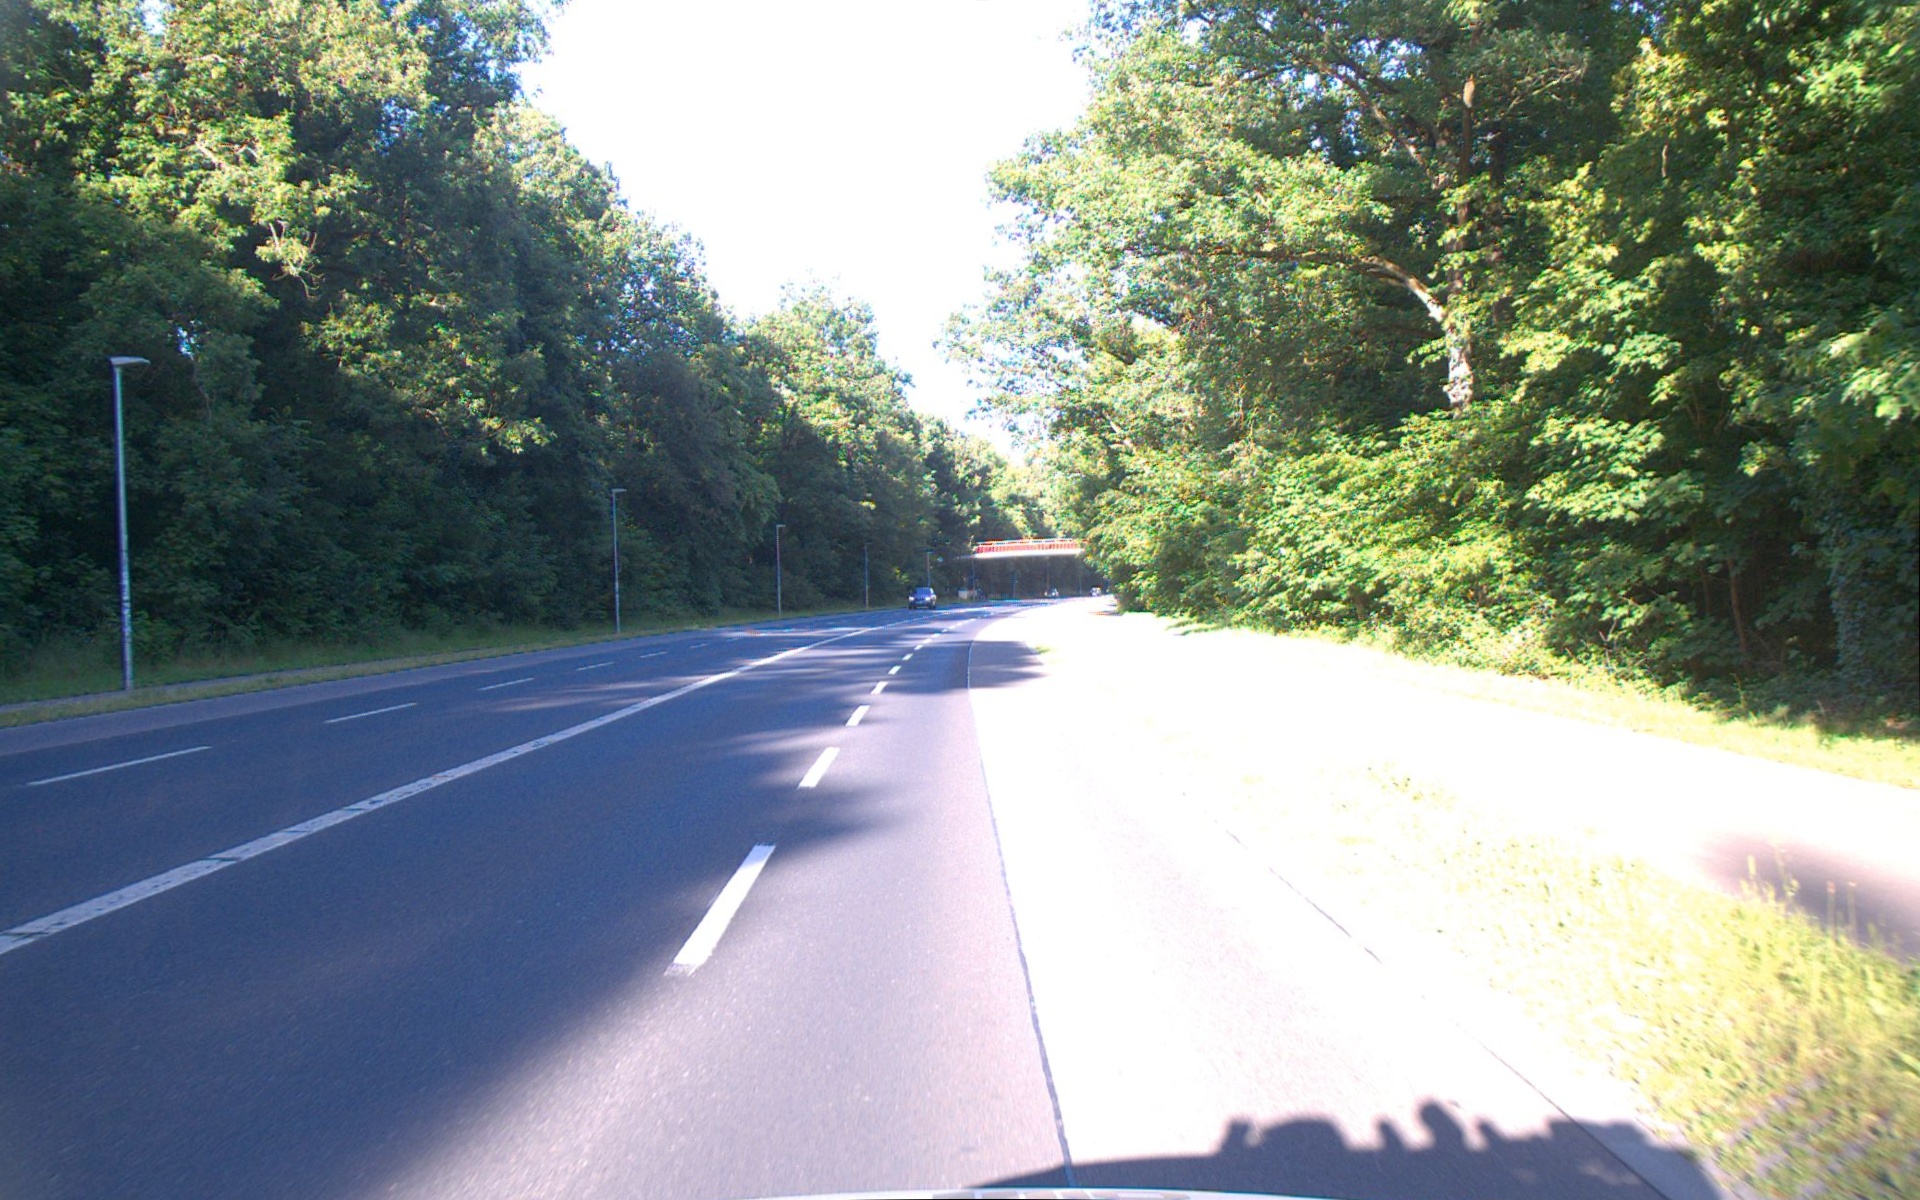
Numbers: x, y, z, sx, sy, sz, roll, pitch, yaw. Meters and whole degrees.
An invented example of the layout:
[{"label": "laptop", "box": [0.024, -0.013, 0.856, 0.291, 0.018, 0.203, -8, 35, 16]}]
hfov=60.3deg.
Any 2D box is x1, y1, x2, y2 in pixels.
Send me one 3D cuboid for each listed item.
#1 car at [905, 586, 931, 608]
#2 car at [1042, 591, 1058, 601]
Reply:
[{"label": "car", "box": [-3.233, -0.241, 128.461, 1.770, 1.692, 4.522, 0, 0, 1]}, {"label": "car", "box": [12.964, -0.633, 239.362, 1.673, 1.448, 4.134, -1, 0, 12]}]
